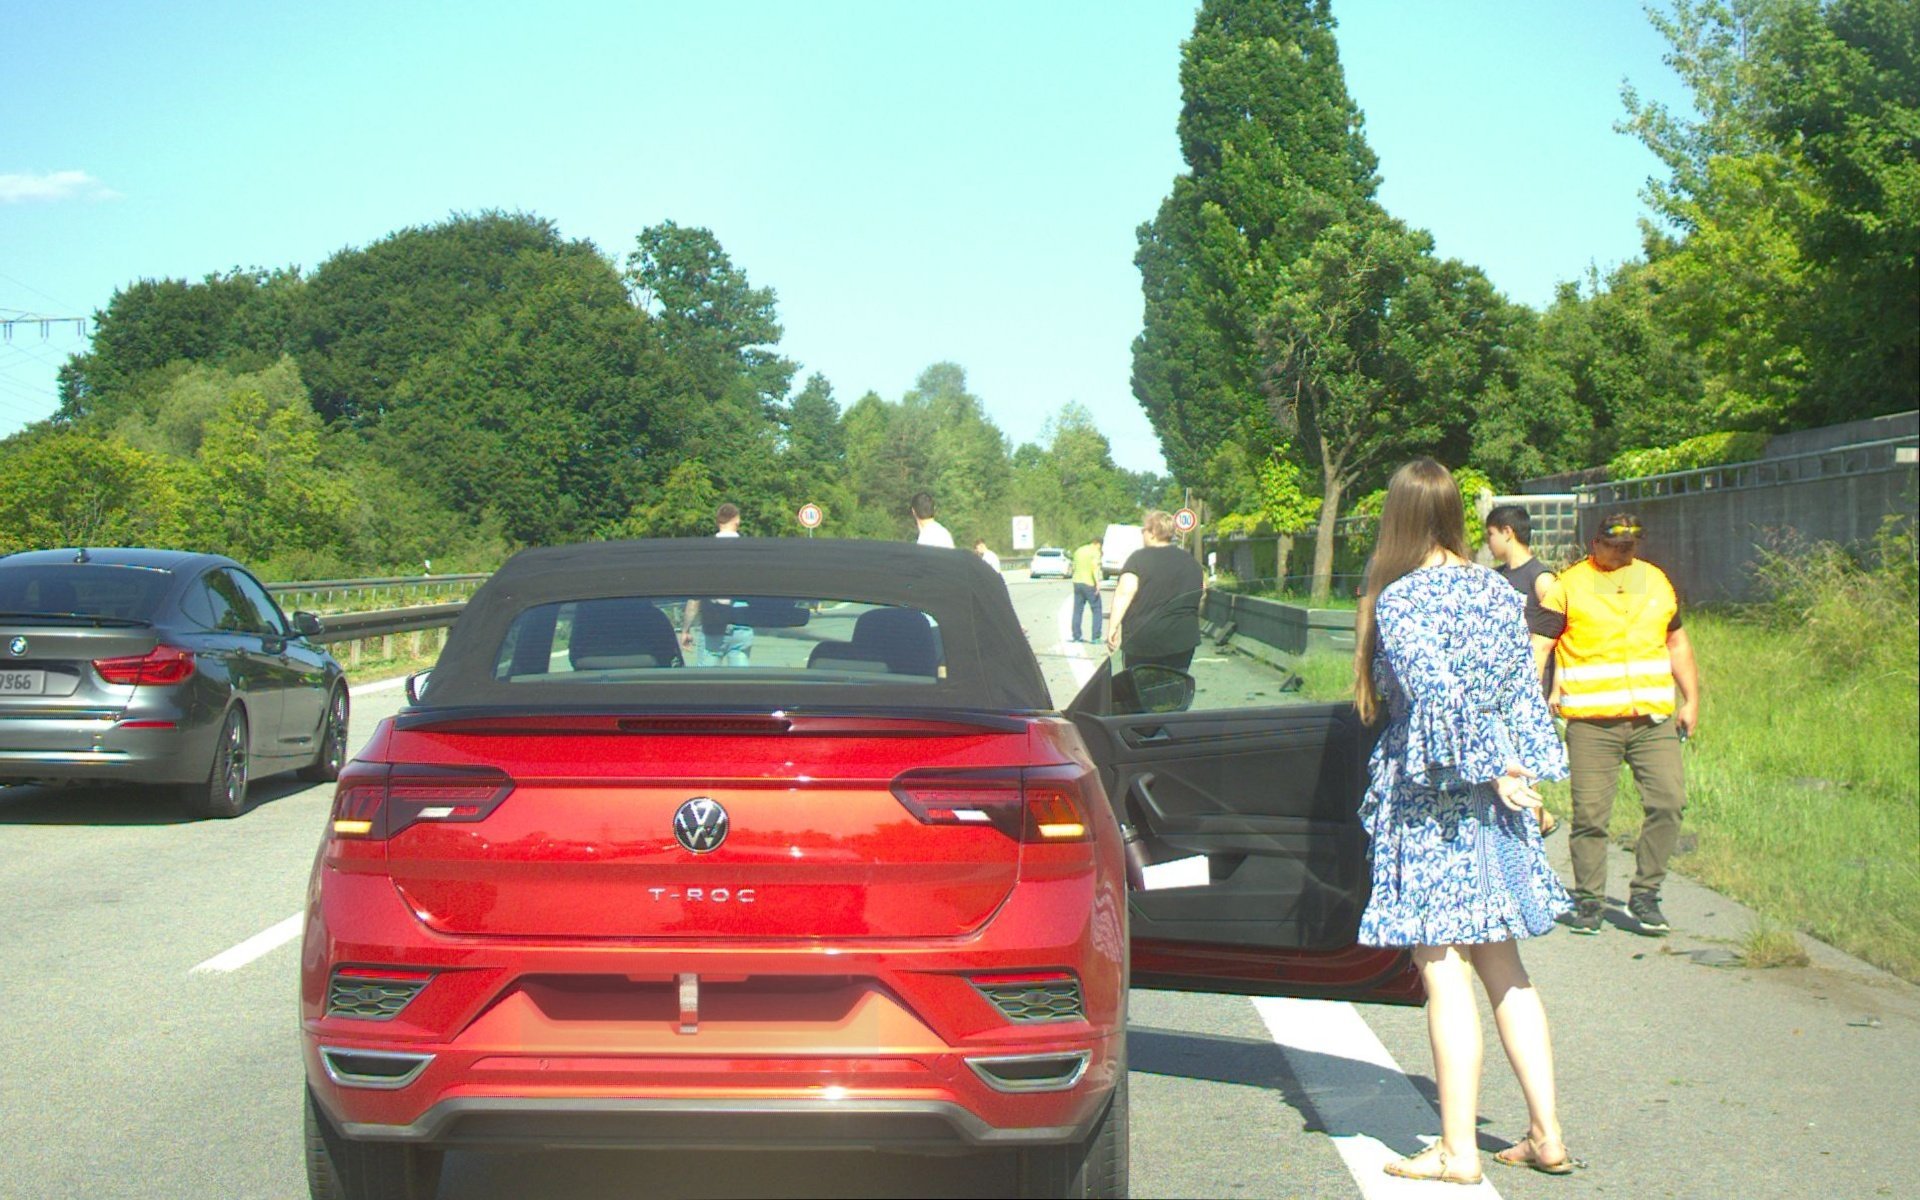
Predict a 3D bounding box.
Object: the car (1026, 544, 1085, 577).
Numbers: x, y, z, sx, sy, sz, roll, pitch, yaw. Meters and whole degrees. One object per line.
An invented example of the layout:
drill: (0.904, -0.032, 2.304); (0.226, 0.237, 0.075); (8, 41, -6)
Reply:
car: (4.521, -1.862, 162.024); (1.734, 1.482, 4.207); (1, 1, 17)

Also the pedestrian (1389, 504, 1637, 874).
pedestrian: (2.642, 0.413, 16.473); (0.894, 1.719, 0.754); (1, 0, -19)

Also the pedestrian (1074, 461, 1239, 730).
pedestrian: (1.396, -0.040, 24.644); (1.090, 1.876, 1.069); (-1, 1, -1)

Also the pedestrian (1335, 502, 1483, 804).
pedestrian: (2.693, 0.304, 20.568); (0.812, 1.753, 0.828); (1, 0, 10)

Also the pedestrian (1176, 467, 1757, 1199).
pedestrian: (1.170, 0.548, 8.128); (0.889, 1.689, 1.129); (-1, 1, -22)

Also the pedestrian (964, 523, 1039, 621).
pedestrian: (0.717, -0.483, 59.801); (1.113, 1.683, 0.973); (1, 0, -10)

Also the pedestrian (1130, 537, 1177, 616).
pedestrian: (4.228, -0.513, 75.020); (0.996, 1.683, 1.010); (1, 0, 4)

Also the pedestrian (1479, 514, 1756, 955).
pedestrian: (2.560, 0.496, 13.530); (0.958, 1.648, 1.278); (-1, 1, 7)

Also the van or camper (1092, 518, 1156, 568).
van or camper: (7.693, -2.657, 160.867); (1.995, 2.308, 4.467); (1, 1, 16)

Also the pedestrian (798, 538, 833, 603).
pedestrian: (-3.748, -0.765, 89.287); (0.792, 1.683, 0.792); (1, 0, 5)

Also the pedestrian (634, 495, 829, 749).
pedestrian: (-1.640, 0.145, 24.895); (1.105, 1.782, 1.091); (1, 0, 14)

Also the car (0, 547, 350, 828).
car: (-4.782, 0.417, 19.903); (1.694, 1.421, 4.334); (1, 1, 0)

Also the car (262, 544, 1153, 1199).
car: (-0.488, 0.611, 8.843); (1.732, 1.482, 4.210); (1, 1, 0)

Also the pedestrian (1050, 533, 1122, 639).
pedestrian: (2.029, -0.229, 55.259); (1.056, 1.683, 1.017); (1, 0, 7)

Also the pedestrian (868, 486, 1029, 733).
pedestrian: (-0.105, 0.060, 27.397); (1.105, 1.906, 1.257); (-1, 1, -7)
